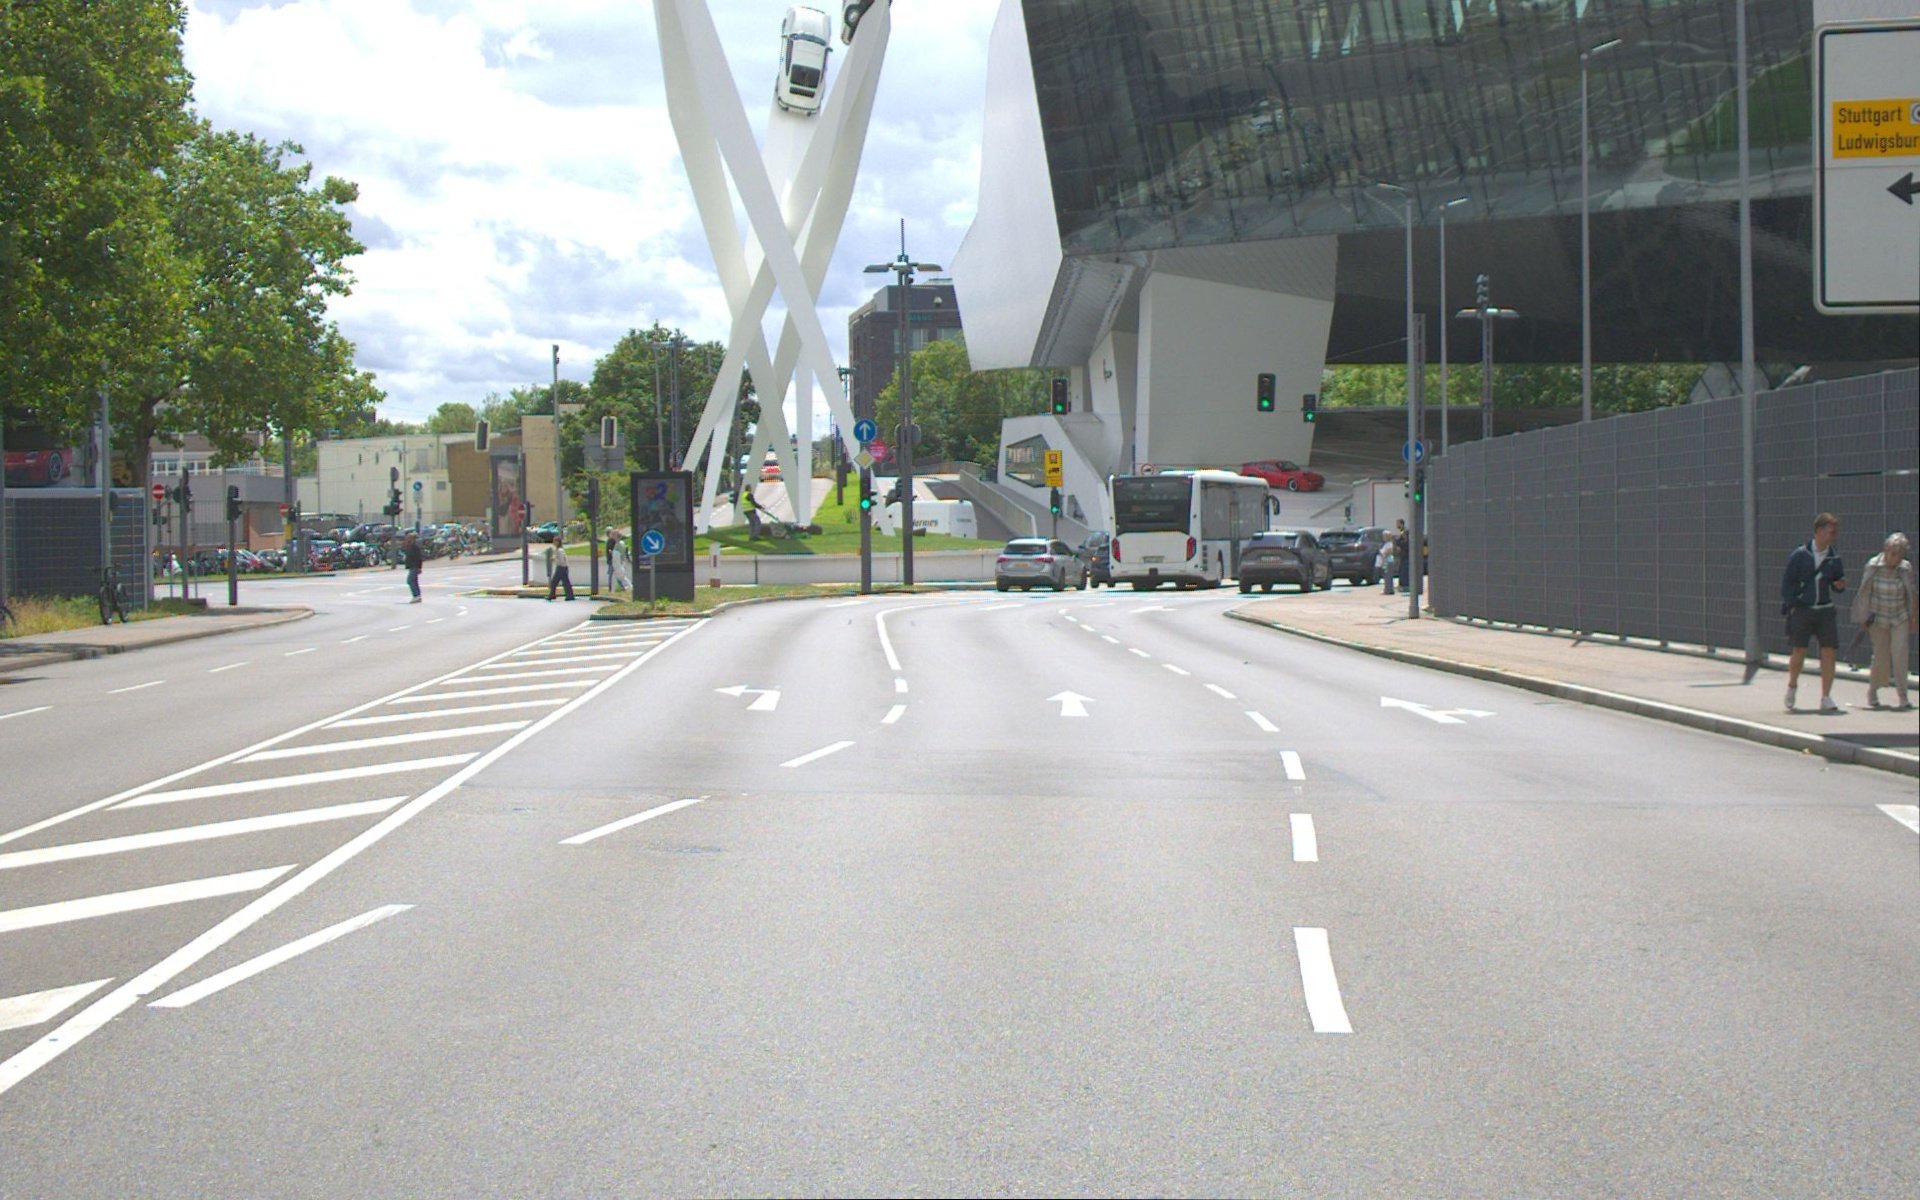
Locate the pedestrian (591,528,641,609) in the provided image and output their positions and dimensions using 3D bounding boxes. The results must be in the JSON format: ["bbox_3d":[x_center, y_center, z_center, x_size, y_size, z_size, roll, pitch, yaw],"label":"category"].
[{"bbox_3d":[-8.769,-0.794,87.578,0.953,2.048,0.950,1,0,17],"label":"pedestrian"}]

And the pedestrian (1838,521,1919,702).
[{"bbox_3d":[8.347,0.104,30.692,0.794,1.591,0.732,1,0,-2],"label":"pedestrian"}]

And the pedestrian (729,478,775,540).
[{"bbox_3d":[-6.496,-2.834,107.133,1.281,1.810,0.987,-4,5,-5],"label":"pedestrian"}]

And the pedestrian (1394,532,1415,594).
[{"bbox_3d":[11.664,-0.968,90.258,0.464,1.610,0.663,1,0,1],"label":"pedestrian"}]

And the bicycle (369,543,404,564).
[{"bbox_3d":[-25.096,-2.031,150.448,0.492,0.863,1.607,1,3,39],"label":"bicycle"}]

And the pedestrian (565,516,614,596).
[{"bbox_3d":[-9.548,-1.136,88.623,0.953,2.048,0.950,1,0,17],"label":"pedestrian"}]

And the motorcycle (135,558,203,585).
[{"bbox_3d":[-35.722,-1.291,155.244,2.905,1.192,0.919,1,0,17],"label":"motorcycle"}]

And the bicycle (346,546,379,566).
[{"bbox_3d":[-26.837,-1.988,154.489,0.492,0.863,1.608,1,0,34],"label":"bicycle"}]

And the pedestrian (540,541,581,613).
[{"bbox_3d":[-9.988,-0.569,85.963,0.863,1.768,1.036,1,0,-15],"label":"pedestrian"}]

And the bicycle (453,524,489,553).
[{"bbox_3d":[-22.333,-2.795,157.008,1.605,1.312,0.493,1,0,-2],"label":"bicycle"}]

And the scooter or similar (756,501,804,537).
[{"bbox_3d":[-5.616,-2.537,107.216,1.400,1.022,0.550,-3,7,-6],"label":"scooter or similar"}]

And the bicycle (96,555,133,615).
[{"bbox_3d":[-16.236,-0.289,66.001,0.296,1.127,1.485,1,0,1],"label":"bicycle"}]

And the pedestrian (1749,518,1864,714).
[{"bbox_3d":[7.517,0.138,30.554,0.794,1.715,0.732,1,0,-2],"label":"pedestrian"}]

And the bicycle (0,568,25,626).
[{"bbox_3d":[-16.609,-0.053,59.561,0.296,1.002,1.251,1,0,9],"label":"bicycle"}]

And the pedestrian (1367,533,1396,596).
[{"bbox_3d":[10.720,-0.904,87.391,0.659,1.602,0.822,1,0,9],"label":"pedestrian"}]

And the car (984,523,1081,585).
[{"bbox_3d":[2.035,-1.248,94.901,1.994,1.631,3.998,1,0,11],"label":"car"}]

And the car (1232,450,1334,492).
[{"bbox_3d":[15.209,-6.096,161.889,1.995,1.390,4.510,-6,12,-44],"label":"car"}]

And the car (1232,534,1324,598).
[{"bbox_3d":[8.383,-0.902,90.376,1.994,1.631,3.998,1,1,11],"label":"car"}]

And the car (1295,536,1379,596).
[{"bbox_3d":[10.597,-0.950,96.440,1.994,1.631,3.998,1,0,11],"label":"car"}]

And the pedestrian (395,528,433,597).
[{"bbox_3d":[-14.155,-0.965,89.111,0.863,1.768,1.036,1,0,-15],"label":"pedestrian"}]

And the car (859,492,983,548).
[{"bbox_3d":[-1.552,-3.144,135.170,4.651,2.163,1.995,1,0,39],"label":"car"}]

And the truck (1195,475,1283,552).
[{"bbox_3d":[9.542,-2.922,117.315,2.208,2.507,5.130,1,0,13],"label":"truck"}]

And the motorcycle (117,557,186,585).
[{"bbox_3d":[-36.263,-1.292,154.168,2.905,1.192,0.919,1,0,17],"label":"motorcycle"}]

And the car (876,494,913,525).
[{"bbox_3d":[-3.654,-5.067,192.915,1.993,1.630,4.656,1,2,0],"label":"car"}]

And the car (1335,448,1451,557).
[{"bbox_3d":[14.782,-3.275,117.899,3.336,3.492,9.340,1,0,4],"label":"car"}]

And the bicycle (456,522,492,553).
[{"bbox_3d":[-22.417,-2.886,158.551,1.605,1.378,0.493,1,0,-2],"label":"bicycle"}]

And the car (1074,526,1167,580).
[{"bbox_3d":[5.096,-1.473,108.510,1.995,1.631,3.997,1,0,17],"label":"car"}]

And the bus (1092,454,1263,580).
[{"bbox_3d":[6.412,-2.279,99.041,3.073,3.350,12.216,1,0,12],"label":"bus"}]
